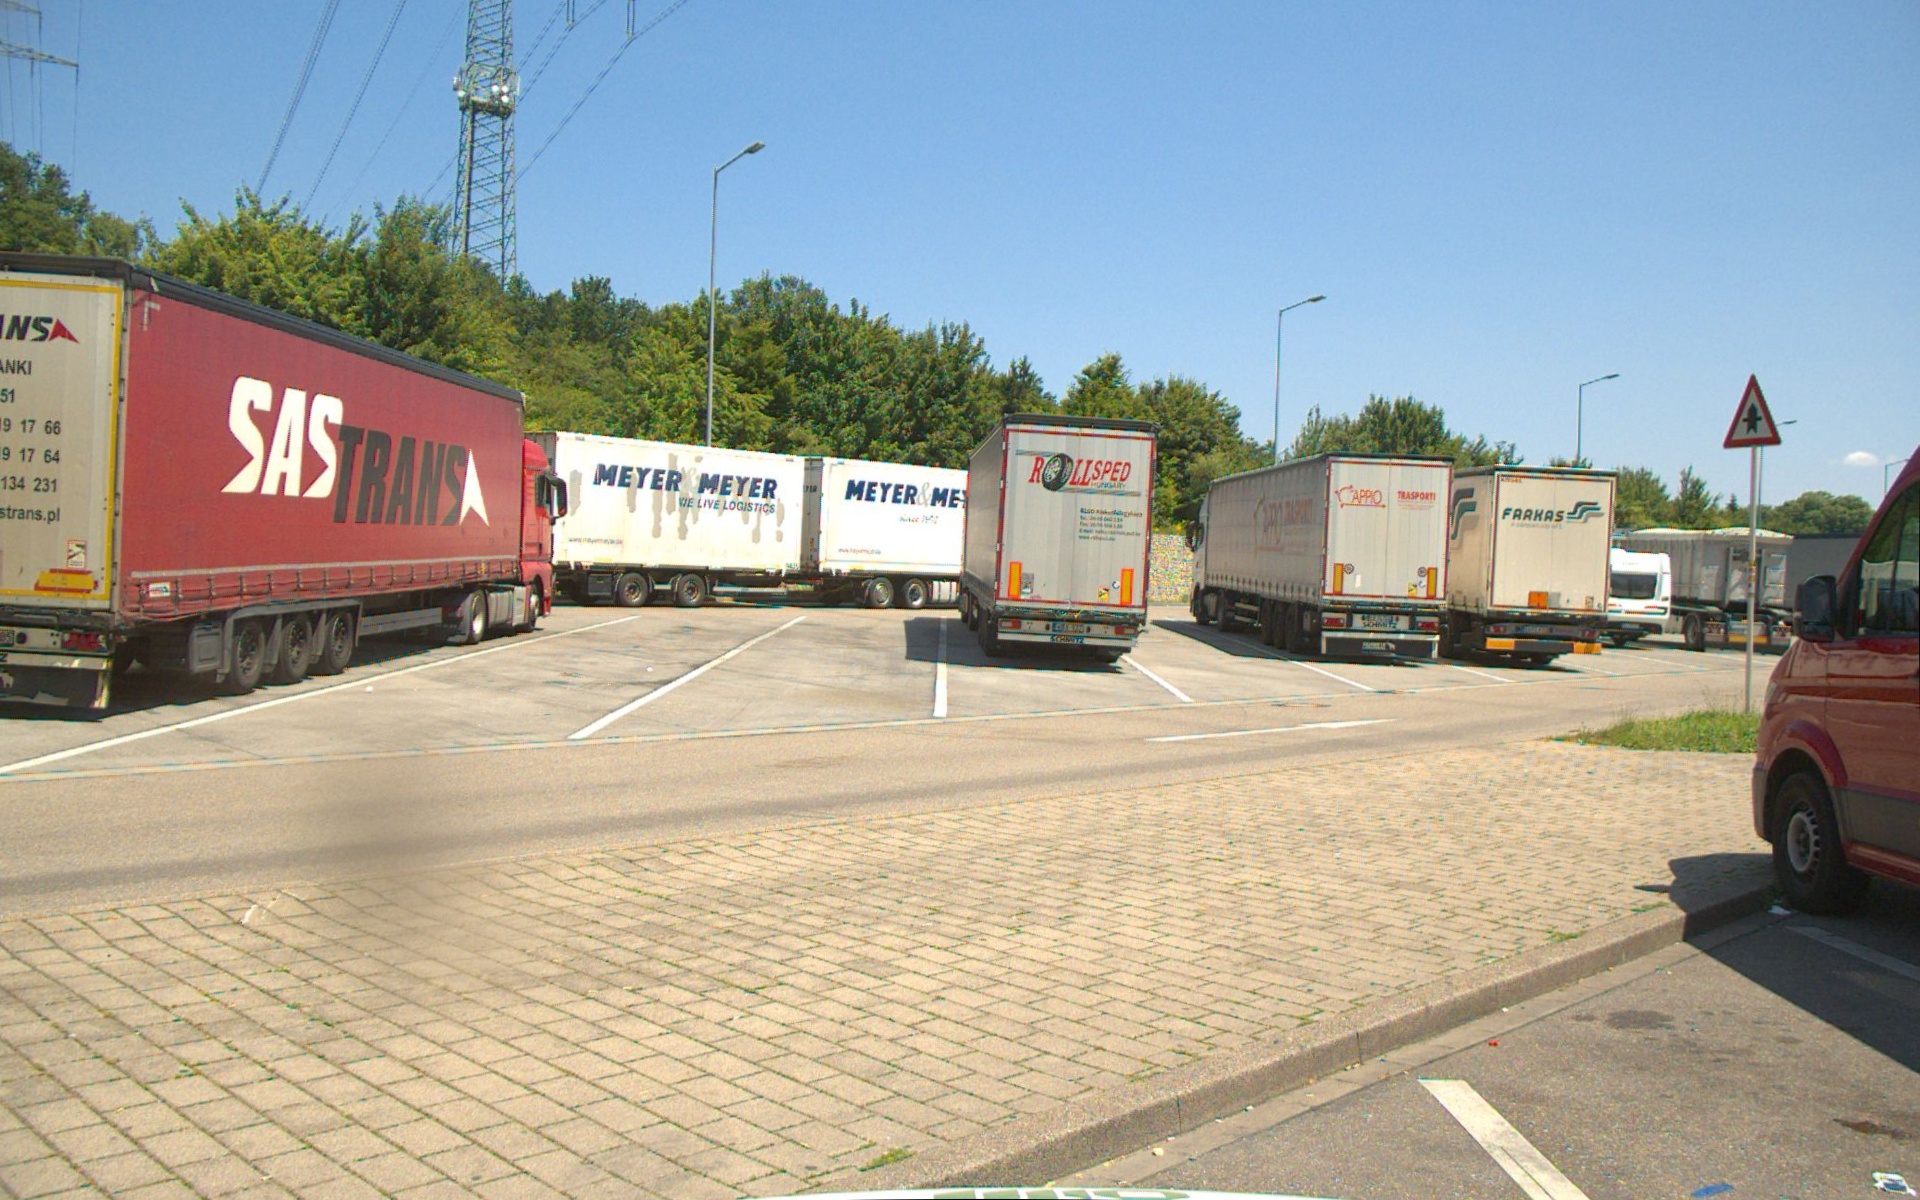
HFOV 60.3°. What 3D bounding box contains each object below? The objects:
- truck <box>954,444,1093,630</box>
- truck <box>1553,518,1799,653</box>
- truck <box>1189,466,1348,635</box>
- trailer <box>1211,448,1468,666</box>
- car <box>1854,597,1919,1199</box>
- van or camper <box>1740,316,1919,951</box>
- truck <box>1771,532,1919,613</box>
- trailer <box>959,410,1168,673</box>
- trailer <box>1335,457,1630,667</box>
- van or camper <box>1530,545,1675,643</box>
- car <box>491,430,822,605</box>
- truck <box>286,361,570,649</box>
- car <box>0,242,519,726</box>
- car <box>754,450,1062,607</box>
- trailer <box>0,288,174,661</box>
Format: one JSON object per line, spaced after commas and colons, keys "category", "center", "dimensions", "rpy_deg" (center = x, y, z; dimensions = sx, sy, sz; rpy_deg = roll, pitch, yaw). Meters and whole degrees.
{"category": "truck", "center": [1.423, -1.563, 40.729], "dimensions": [2.809, 4.107, 7.026], "rpy_deg": [2, 2, -2]}
{"category": "truck", "center": [21.747, -0.642, 51.221], "dimensions": [2.437, 3.630, 11.423], "rpy_deg": [2, 2, -1]}
{"category": "truck", "center": [8.166, -1.381, 44.714], "dimensions": [2.808, 4.107, 6.956], "rpy_deg": [2, 2, -1]}
{"category": "trailer", "center": [8.245, -1.085, 38.083], "dimensions": [2.808, 4.107, 12.438], "rpy_deg": [2, 2, -1]}
{"category": "car", "center": [2.537, 0.798, 1.090], "dimensions": [1.584, 1.509, 3.762], "rpy_deg": [1, 1, -6]}
{"category": "van or camper", "center": [4.987, 0.177, 5.538], "dimensions": [1.954, 2.700, 6.482], "rpy_deg": [1, 1, 3]}
{"category": "truck", "center": [34.702, -1.058, 63.613], "dimensions": [2.082, 2.869, 9.777], "rpy_deg": [1, 1, -1]}
{"category": "trailer", "center": [1.653, -1.237, 33.648], "dimensions": [2.809, 4.107, 14.238], "rpy_deg": [2, 2, -2]}
{"category": "trailer", "center": [11.822, -1.019, 39.200], "dimensions": [2.808, 4.107, 12.438], "rpy_deg": [2, 2, -1]}
{"category": "van or camper", "center": [18.267, -0.216, 47.325], "dimensions": [2.061, 2.606, 5.372], "rpy_deg": [1, 1, 0]}
{"category": "car", "center": [-7.646, -2.021, 42.815], "dimensions": [2.643, 4.114, 8.413], "rpy_deg": [5, 3, 43]}
{"category": "truck", "center": [-8.699, -1.529, 27.857], "dimensions": [2.641, 4.184, 6.239], "rpy_deg": [2, 2, 0]}
{"category": "car", "center": [-8.678, -1.280, 20.939], "dimensions": [2.641, 4.184, 12.935], "rpy_deg": [2, 2, 0]}
{"category": "car", "center": [-1.301, -2.015, 49.615], "dimensions": [2.644, 4.261, 10.146], "rpy_deg": [5, 3, 44]}
{"category": "trailer", "center": [-12.548, -1.406, 17.141], "dimensions": [2.756, 4.341, 12.940], "rpy_deg": [2, 2, -1]}
